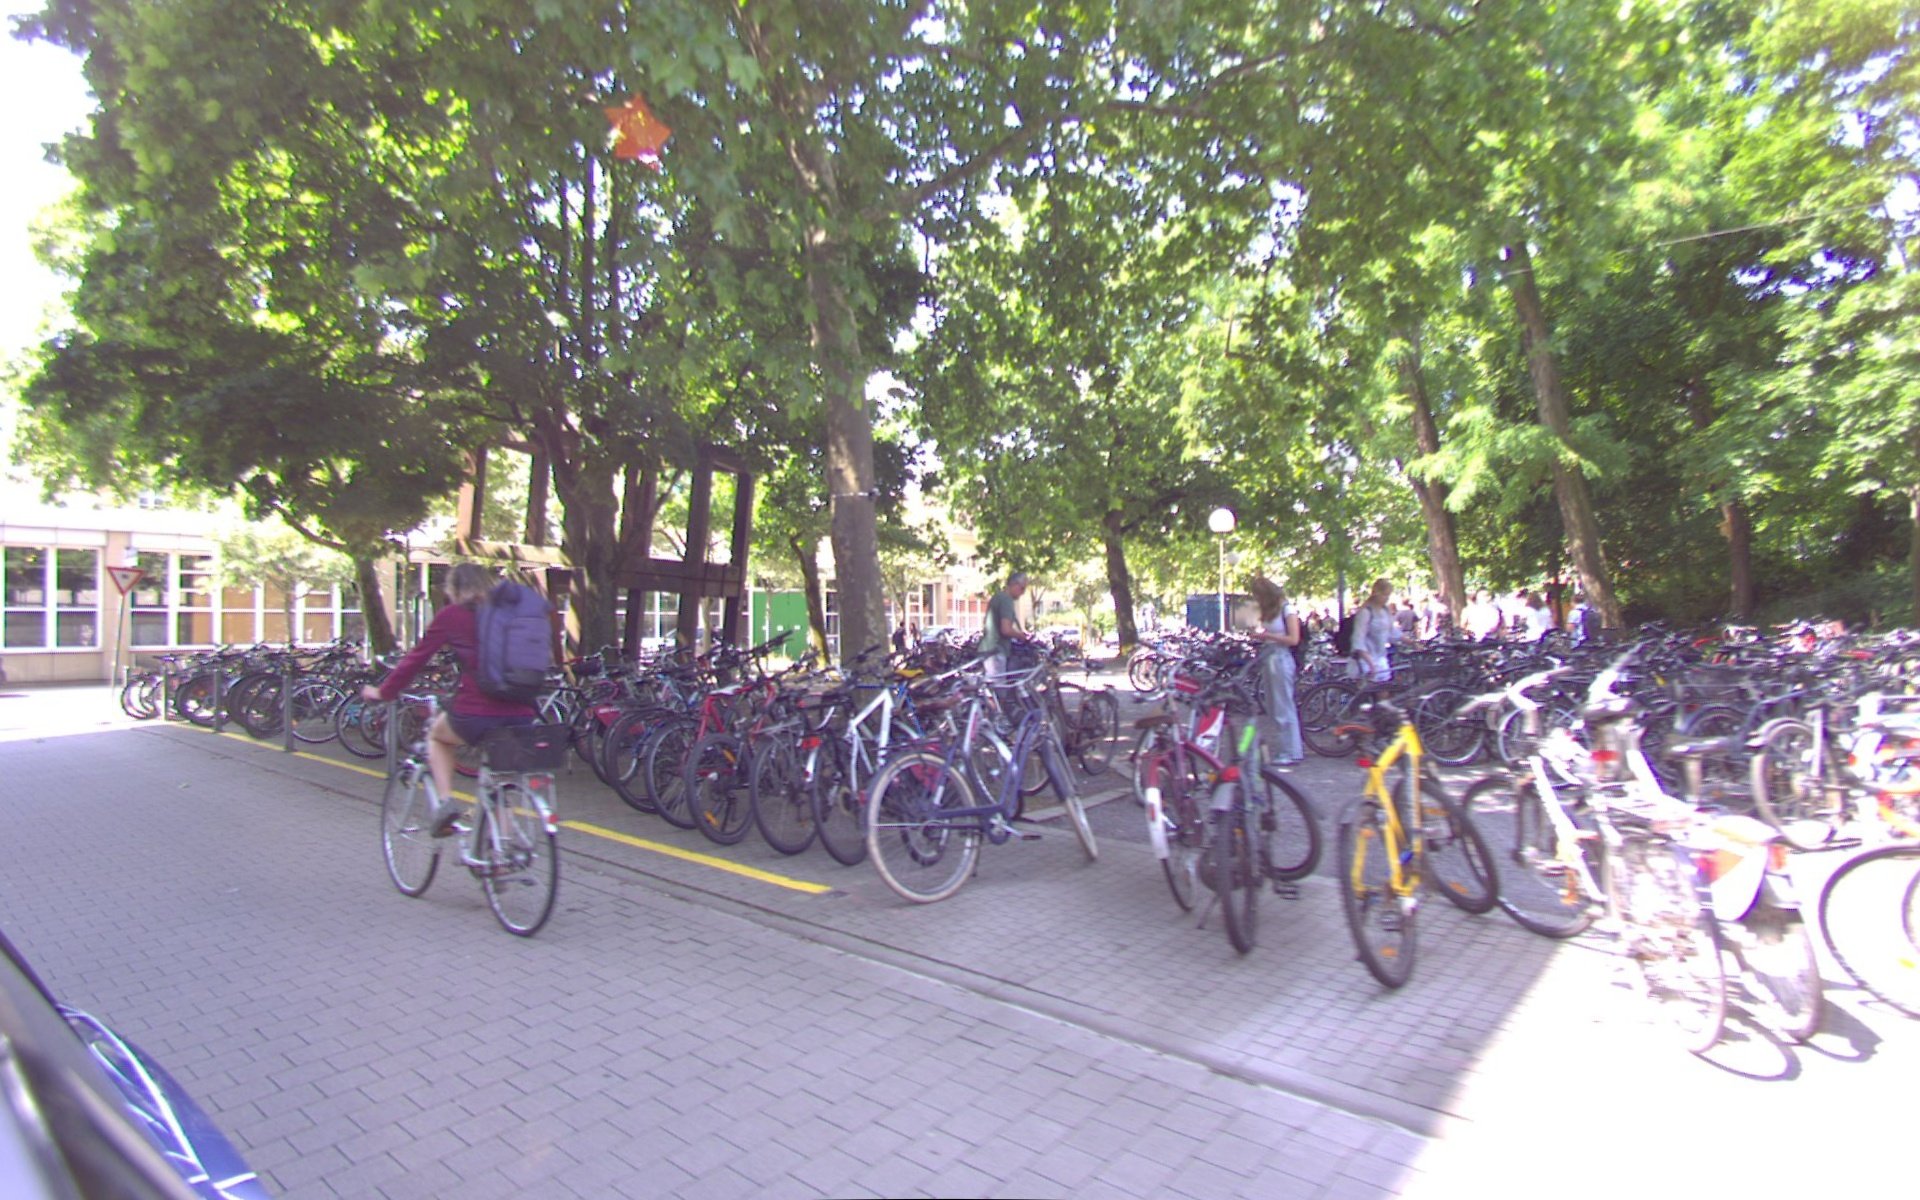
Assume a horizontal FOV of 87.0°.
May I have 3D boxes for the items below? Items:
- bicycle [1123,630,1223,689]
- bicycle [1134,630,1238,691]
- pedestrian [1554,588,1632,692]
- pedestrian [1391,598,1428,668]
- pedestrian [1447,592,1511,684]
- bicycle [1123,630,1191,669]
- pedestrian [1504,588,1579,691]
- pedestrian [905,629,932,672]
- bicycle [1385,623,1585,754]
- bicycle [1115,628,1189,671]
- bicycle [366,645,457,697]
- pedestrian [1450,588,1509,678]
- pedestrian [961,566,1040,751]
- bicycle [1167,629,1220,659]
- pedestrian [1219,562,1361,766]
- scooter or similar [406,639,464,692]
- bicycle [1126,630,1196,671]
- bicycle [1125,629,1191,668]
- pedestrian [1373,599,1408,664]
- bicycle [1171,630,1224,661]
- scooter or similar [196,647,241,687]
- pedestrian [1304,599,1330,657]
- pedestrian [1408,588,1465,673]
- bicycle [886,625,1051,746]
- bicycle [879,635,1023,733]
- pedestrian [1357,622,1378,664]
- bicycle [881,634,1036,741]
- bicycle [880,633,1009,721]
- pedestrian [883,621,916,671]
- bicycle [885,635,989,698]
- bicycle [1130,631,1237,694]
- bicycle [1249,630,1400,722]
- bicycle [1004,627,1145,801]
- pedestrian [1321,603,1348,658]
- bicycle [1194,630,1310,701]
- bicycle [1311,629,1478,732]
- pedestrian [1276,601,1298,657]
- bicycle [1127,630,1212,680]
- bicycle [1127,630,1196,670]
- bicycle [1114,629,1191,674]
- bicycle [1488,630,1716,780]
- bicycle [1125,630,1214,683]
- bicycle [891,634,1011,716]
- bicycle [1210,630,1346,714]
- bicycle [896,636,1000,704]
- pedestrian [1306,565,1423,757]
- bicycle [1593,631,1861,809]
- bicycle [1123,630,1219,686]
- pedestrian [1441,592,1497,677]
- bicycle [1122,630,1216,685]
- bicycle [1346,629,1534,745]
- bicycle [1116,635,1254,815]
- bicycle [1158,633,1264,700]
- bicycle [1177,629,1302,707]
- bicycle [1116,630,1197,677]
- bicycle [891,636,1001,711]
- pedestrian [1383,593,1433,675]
[{"bbox_3d":[4.148,1.155,19.761,1.835,1.092,0.473,-1,-1,4],"label":"bicycle"},{"bbox_3d":[4.235,1.134,19.044,1.835,1.092,0.473,-1,-1,4],"label":"bicycle"},{"bbox_3d":[10.689,0.669,17.119,0.761,1.692,0.905,-1,-1,8],"label":"pedestrian"},{"bbox_3d":[11.878,0.863,26.746,0.764,1.788,0.901,-2,-1,19],"label":"pedestrian"},{"bbox_3d":[9.877,0.711,19.285,0.761,1.692,0.905,-1,-1,8],"label":"pedestrian"},{"bbox_3d":[5.679,1.419,29.230,1.835,1.092,0.473,-1,-1,4],"label":"bicycle"},{"bbox_3d":[9.887,0.664,17.231,0.761,1.692,0.905,-1,-1,8],"label":"pedestrian"},{"bbox_3d":[-1.549,1.871,37.601,0.571,1.531,0.829,-2,-1,42],"label":"pedestrian"},{"bbox_3d":[4.746,0.773,9.157,1.671,1.092,0.475,-1,-1,-13],"label":"bicycle"},{"bbox_3d":[5.069,1.305,26.770,1.835,1.092,0.473,-1,-1,4],"label":"bicycle"},{"bbox_3d":[-13.252,1.697,24.520,1.853,1.181,0.808,1,-1,-25],"label":"bicycle"},{"bbox_3d":[10.613,0.674,20.709,0.761,1.788,0.905,-1,-1,8],"label":"pedestrian"},{"bbox_3d":[0.430,0.584,10.375,0.701,1.820,0.768,-1,-1,8],"label":"pedestrian"},{"bbox_3d":[8.736,1.652,37.913,1.848,1.092,0.470,-1,-1,25],"label":"bicycle"},{"bbox_3d":[2.918,0.546,9.018,0.892,1.716,0.771,-1,-1,-10],"label":"pedestrian"},{"bbox_3d":[-12.255,1.517,23.656,1.166,1.204,0.293,-1,-2,-13],"label":"scooter or similar"},{"bbox_3d":[5.565,1.399,28.027,1.835,1.092,0.473,-1,-1,4],"label":"bicycle"},{"bbox_3d":[5.832,1.434,29.823,1.835,1.092,0.473,-1,-1,4],"label":"bicycle"},{"bbox_3d":[12.091,0.867,28.447,0.763,1.788,0.902,-2,-1,18],"label":"pedestrian"},{"bbox_3d":[8.585,1.638,36.626,1.838,1.092,0.472,-1,-1,10],"label":"bicycle"},{"bbox_3d":[-23.832,2.131,32.527,0.290,1.235,1.142,-3,-3,44],"label":"scooter or similar"},{"bbox_3d":[11.135,0.871,31.581,0.607,1.788,0.652,-2,-1,31],"label":"pedestrian"},{"bbox_3d":[9.694,0.618,20.635,0.761,1.692,0.905,-1,-1,8],"label":"pedestrian"},{"bbox_3d":[0.082,0.890,10.910,1.671,1.209,0.577,-1,-1,-13],"label":"bicycle"},{"bbox_3d":[-0.116,1.010,12.469,1.671,1.116,0.504,-1,-1,-13],"label":"bicycle"},{"bbox_3d":[17.474,1.831,43.396,0.765,1.788,0.900,-2,-1,23],"label":"pedestrian"},{"bbox_3d":[-0.021,0.974,11.522,1.671,1.116,0.504,-1,-1,-13],"label":"bicycle"},{"bbox_3d":[-0.223,1.031,13.763,1.672,1.116,0.504,-1,-1,-9],"label":"bicycle"},{"bbox_3d":[-2.098,1.600,34.986,0.727,1.697,0.863,-3,-3,38],"label":"pedestrian"},{"bbox_3d":[-0.415,1.233,18.829,1.882,1.116,0.502,-1,-1,4],"label":"bicycle"},{"bbox_3d":[4.069,1.135,18.497,1.835,1.092,0.473,-1,-1,4],"label":"bicycle"},{"bbox_3d":[4.549,0.947,12.694,1.677,1.092,0.473,-1,-1,4],"label":"bicycle"},{"bbox_3d":[0.972,0.856,8.237,0.501,1.229,1.682,-1,-1,30],"label":"bicycle"},{"bbox_3d":[12.415,0.993,33.560,0.765,1.788,0.900,-2,-1,23],"label":"pedestrian"},{"bbox_3d":[4.640,1.038,16.149,1.677,1.092,0.473,-1,-1,4],"label":"bicycle"},{"bbox_3d":[4.907,0.898,11.470,1.674,1.092,0.474,-1,-1,-4],"label":"bicycle"},{"bbox_3d":[10.396,0.915,32.134,0.501,1.784,0.664,-2,-1,30],"label":"pedestrian"},{"bbox_3d":[4.778,1.262,23.156,1.835,1.092,0.473,-1,-1,4],"label":"bicycle"},{"bbox_3d":[5.707,1.408,28.672,1.835,1.092,0.473,-1,-1,4],"label":"bicycle"},{"bbox_3d":[4.838,1.295,25.486,1.835,1.092,0.473,-1,-1,4],"label":"bicycle"},{"bbox_3d":[5.140,0.811,8.110,1.671,1.092,0.475,-1,-1,-13],"label":"bicycle"},{"bbox_3d":[4.583,1.235,22.182,1.835,1.092,0.473,-1,-1,4],"label":"bicycle"},{"bbox_3d":[-0.139,1.088,14.915,1.672,1.116,0.632,-1,-1,-9],"label":"bicycle"},{"bbox_3d":[4.344,0.983,13.889,1.677,1.092,0.473,-1,-1,4],"label":"bicycle"},{"bbox_3d":[-0.197,1.201,17.461,1.757,1.116,0.502,-1,-1,4],"label":"bicycle"},{"bbox_3d":[3.849,0.557,9.608,0.903,1.716,0.762,-2,-1,30],"label":"pedestrian"},{"bbox_3d":[5.244,0.784,6.932,1.671,1.092,0.475,-1,-1,-13],"label":"bicycle"},{"bbox_3d":[4.281,1.181,20.619,1.835,1.092,0.473,-1,-1,4],"label":"bicycle"},{"bbox_3d":[11.019,0.734,21.940,0.761,1.788,0.905,-1,-1,8],"label":"pedestrian"},{"bbox_3d":[4.354,1.189,21.142,1.835,1.092,0.473,-1,-1,4],"label":"bicycle"},{"bbox_3d":[4.836,0.862,10.232,1.674,1.092,0.474,-1,-1,-4],"label":"bicycle"},{"bbox_3d":[1.698,0.844,7.459,0.501,1.116,1.682,-1,-1,30],"label":"bicycle"},{"bbox_3d":[4.265,1.121,17.279,1.677,1.092,0.473,-1,-1,4],"label":"bicycle"},{"bbox_3d":[4.093,0.998,14.865,1.677,1.092,0.473,-1,-1,4],"label":"bicycle"},{"bbox_3d":[4.710,1.280,24.282,1.835,1.092,0.473,-1,-1,4],"label":"bicycle"},{"bbox_3d":[-0.227,1.153,16.131,1.672,1.116,0.504,-1,-1,-9],"label":"bicycle"},{"bbox_3d":[10.057,0.760,22.742,0.761,1.788,0.905,-1,-1,8],"label":"pedestrian"}]
